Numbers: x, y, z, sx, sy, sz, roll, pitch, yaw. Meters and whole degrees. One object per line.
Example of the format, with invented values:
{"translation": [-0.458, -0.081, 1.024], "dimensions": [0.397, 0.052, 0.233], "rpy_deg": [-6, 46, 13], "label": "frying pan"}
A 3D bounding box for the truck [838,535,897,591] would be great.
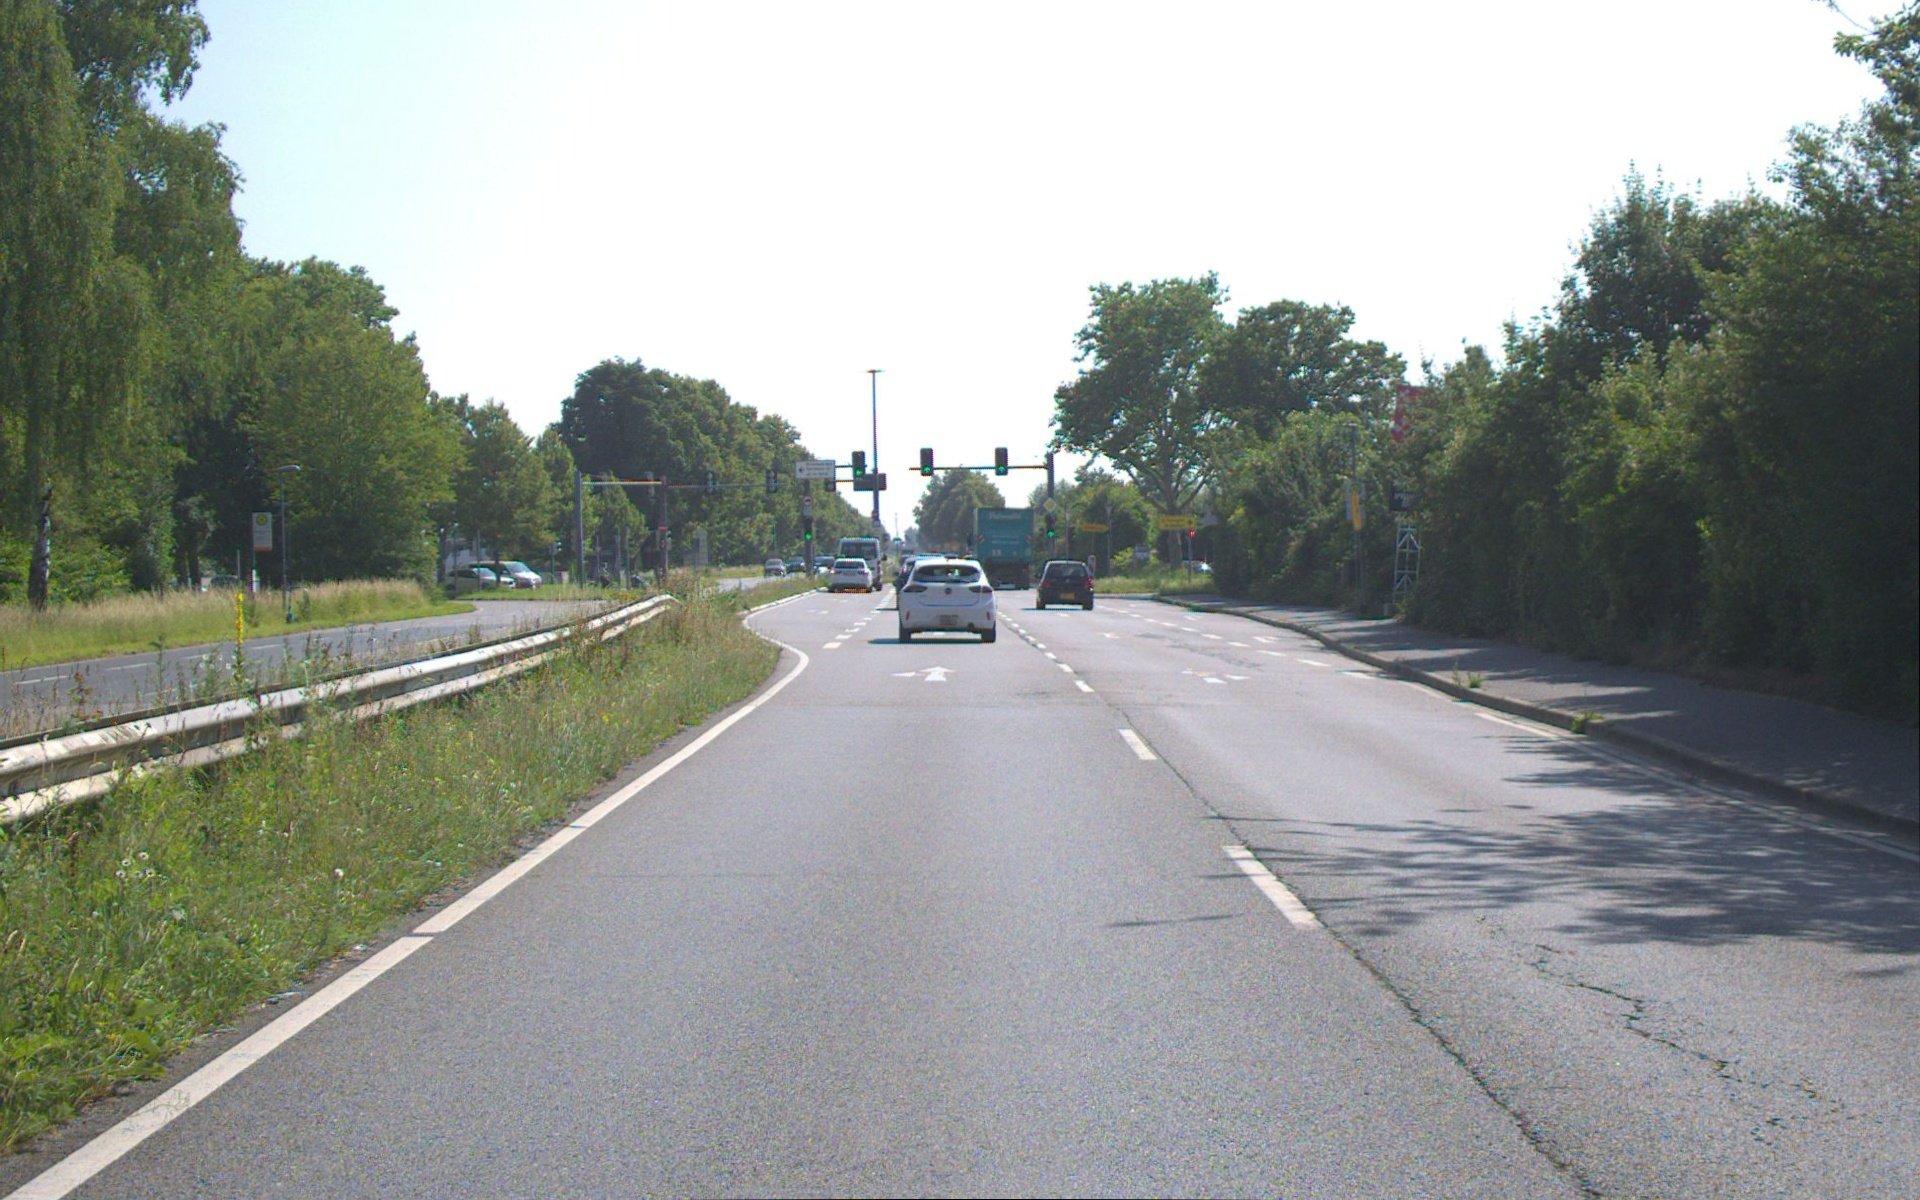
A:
{"translation": [-4.119, -1.677, 153.933], "dimensions": [2.373, 2.381, 6.041], "rpy_deg": [2, 1, 1], "label": "truck"}

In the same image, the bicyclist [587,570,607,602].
{"translation": [-17.700, -0.682, 167.446], "dimensions": [0.847, 1.512, 0.747], "rpy_deg": [0, 1, 5], "label": "bicyclist"}

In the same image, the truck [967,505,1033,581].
{"translation": [1.849, -2.673, 161.338], "dimensions": [2.891, 3.417, 9.169], "rpy_deg": [-1, 1, 0], "label": "truck"}

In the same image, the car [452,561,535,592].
{"translation": [-25.780, -1.280, 190.018], "dimensions": [4.262, 1.600, 2.001], "rpy_deg": [-1, 1, 35], "label": "car"}

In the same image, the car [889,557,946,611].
{"translation": [-1.193, -0.447, 97.749], "dimensions": [1.572, 1.410, 3.277], "rpy_deg": [1, -1, 0], "label": "car"}

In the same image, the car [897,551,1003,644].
{"translation": [-0.166, -0.073, 61.020], "dimensions": [1.799, 1.547, 4.000], "rpy_deg": [0, 1, 0], "label": "car"}

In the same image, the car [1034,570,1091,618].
{"translation": [3.019, -0.180, 102.023], "dimensions": [1.572, 1.410, 3.277], "rpy_deg": [0, 0, 0], "label": "car"}

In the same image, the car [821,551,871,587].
{"translation": [-4.845, -1.309, 146.830], "dimensions": [1.812, 1.459, 4.971], "rpy_deg": [1, 0, 1], "label": "car"}

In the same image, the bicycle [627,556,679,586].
{"translation": [-17.679, -1.664, 198.116], "dimensions": [2.796, 1.664, 1.134], "rpy_deg": [0, 1, 27], "label": "bicycle"}

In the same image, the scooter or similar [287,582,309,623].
{"translation": [-19.593, 0.062, 101.734], "dimensions": [0.368, 1.182, 1.341], "rpy_deg": [-2, 0, 0], "label": "scooter or similar"}
